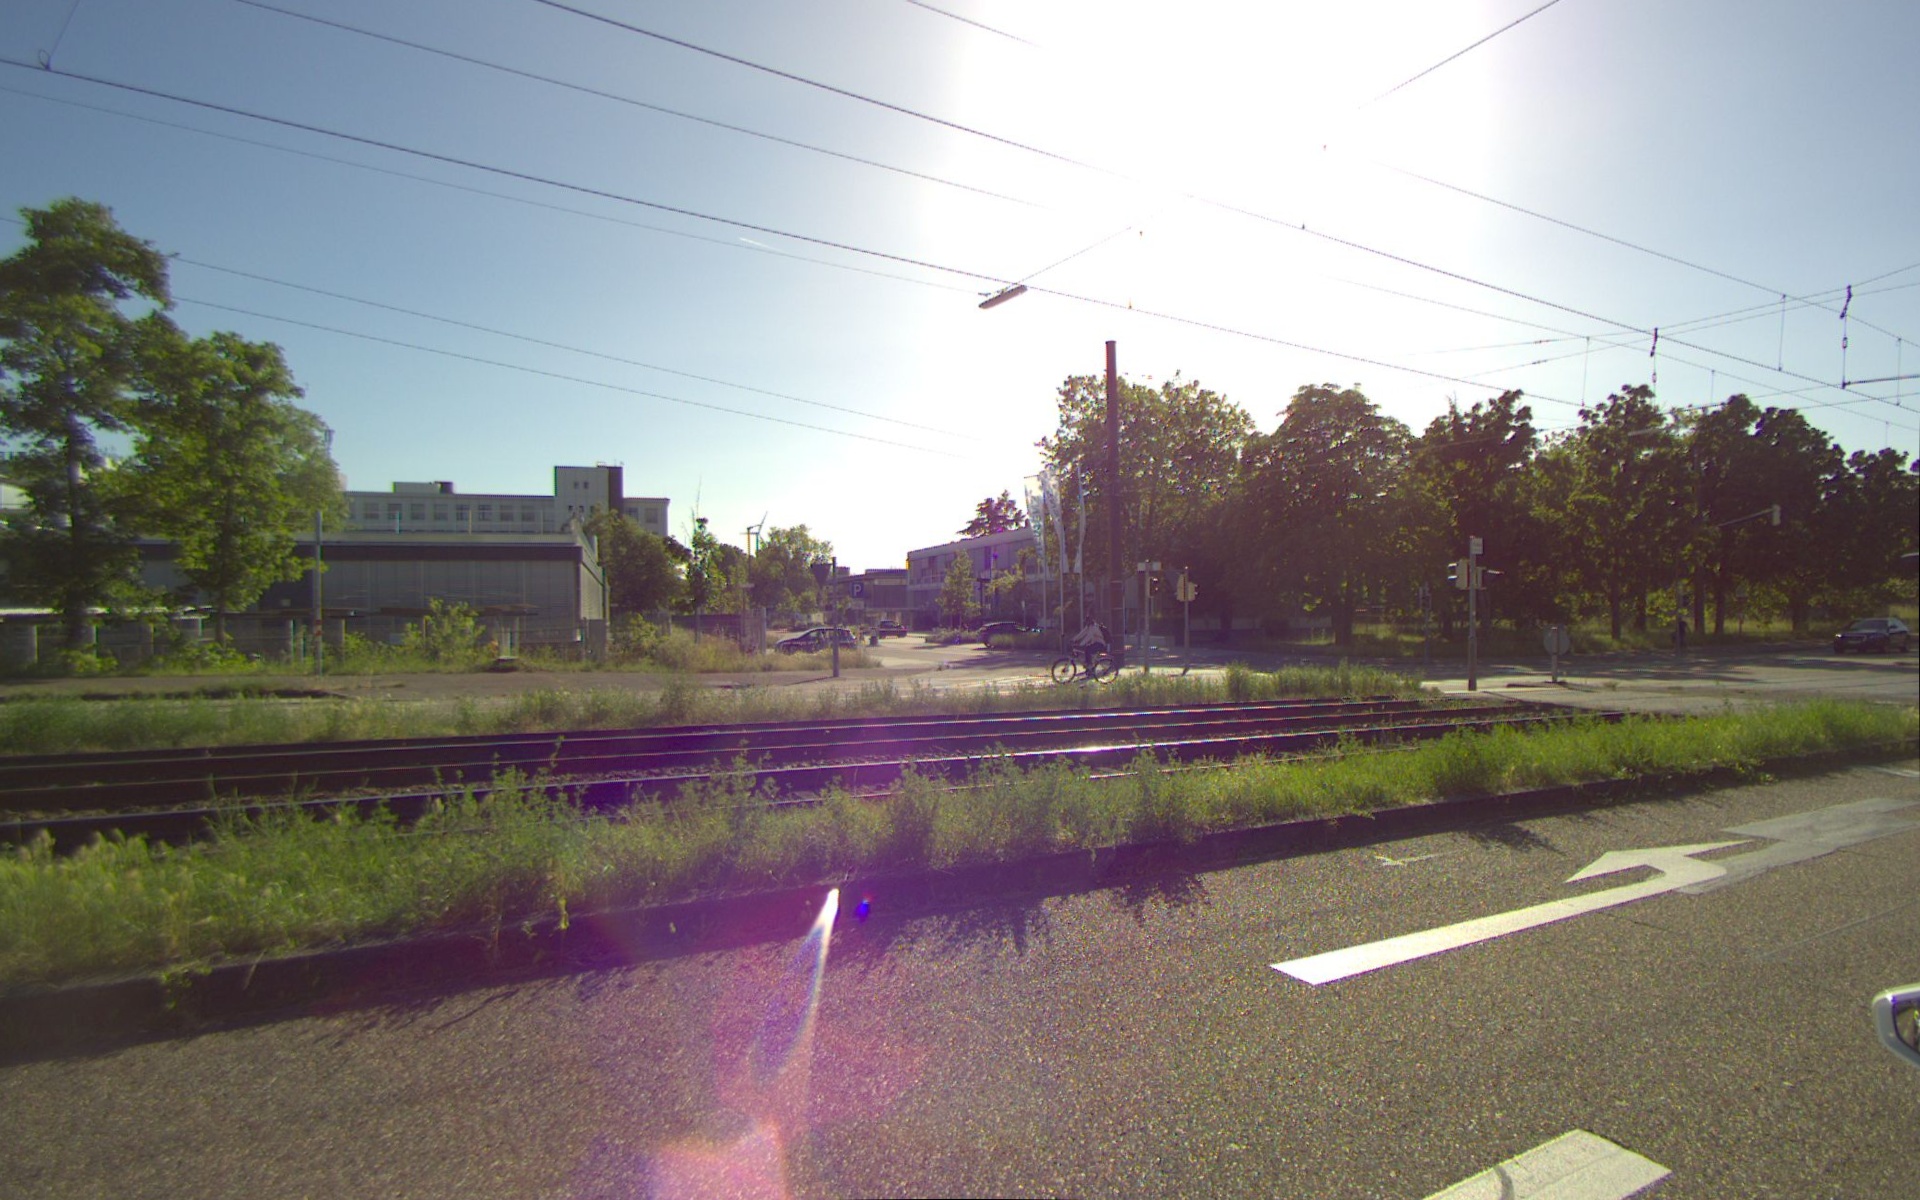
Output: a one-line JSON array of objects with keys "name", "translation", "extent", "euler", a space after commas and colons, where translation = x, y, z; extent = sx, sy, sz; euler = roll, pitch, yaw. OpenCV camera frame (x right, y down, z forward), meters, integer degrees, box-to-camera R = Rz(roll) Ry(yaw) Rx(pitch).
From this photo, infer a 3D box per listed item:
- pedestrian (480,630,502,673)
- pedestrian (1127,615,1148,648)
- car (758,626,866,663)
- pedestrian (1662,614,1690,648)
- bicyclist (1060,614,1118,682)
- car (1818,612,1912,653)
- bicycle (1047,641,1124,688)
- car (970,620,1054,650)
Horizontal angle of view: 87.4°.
[{"name": "pedestrian", "translation": [-14.695, 1.615, 31.465], "extent": [0.432, 1.318, 0.441], "euler": [0, 0, 18]}, {"name": "pedestrian", "translation": [9.777, 1.724, 55.345], "extent": [0.807, 1.811, 0.950], "euler": [0, 0, -16]}, {"name": "car", "translation": [-7.673, 2.268, 51.918], "extent": [5.210, 1.772, 2.164], "euler": [1, 0, -19]}, {"name": "pedestrian", "translation": [36.801, 1.586, 51.641], "extent": [0.919, 1.757, 0.761], "euler": [0, 0, -2]}, {"name": "bicyclist", "translation": [3.156, 1.171, 24.668], "extent": [1.214, 1.614, 0.803], "euler": [1, 0, -10]}, {"name": "car", "translation": [43.180, 1.549, 47.904], "extent": [4.739, 1.834, 2.082], "euler": [0, -2, -32]}, {"name": "bicycle", "translation": [3.077, 1.581, 24.660], "extent": [1.749, 1.117, 0.698], "euler": [1, 0, -10]}, {"name": "car", "translation": [3.205, 2.148, 61.712], "extent": [4.768, 1.751, 2.041], "euler": [1, 0, -21]}]
